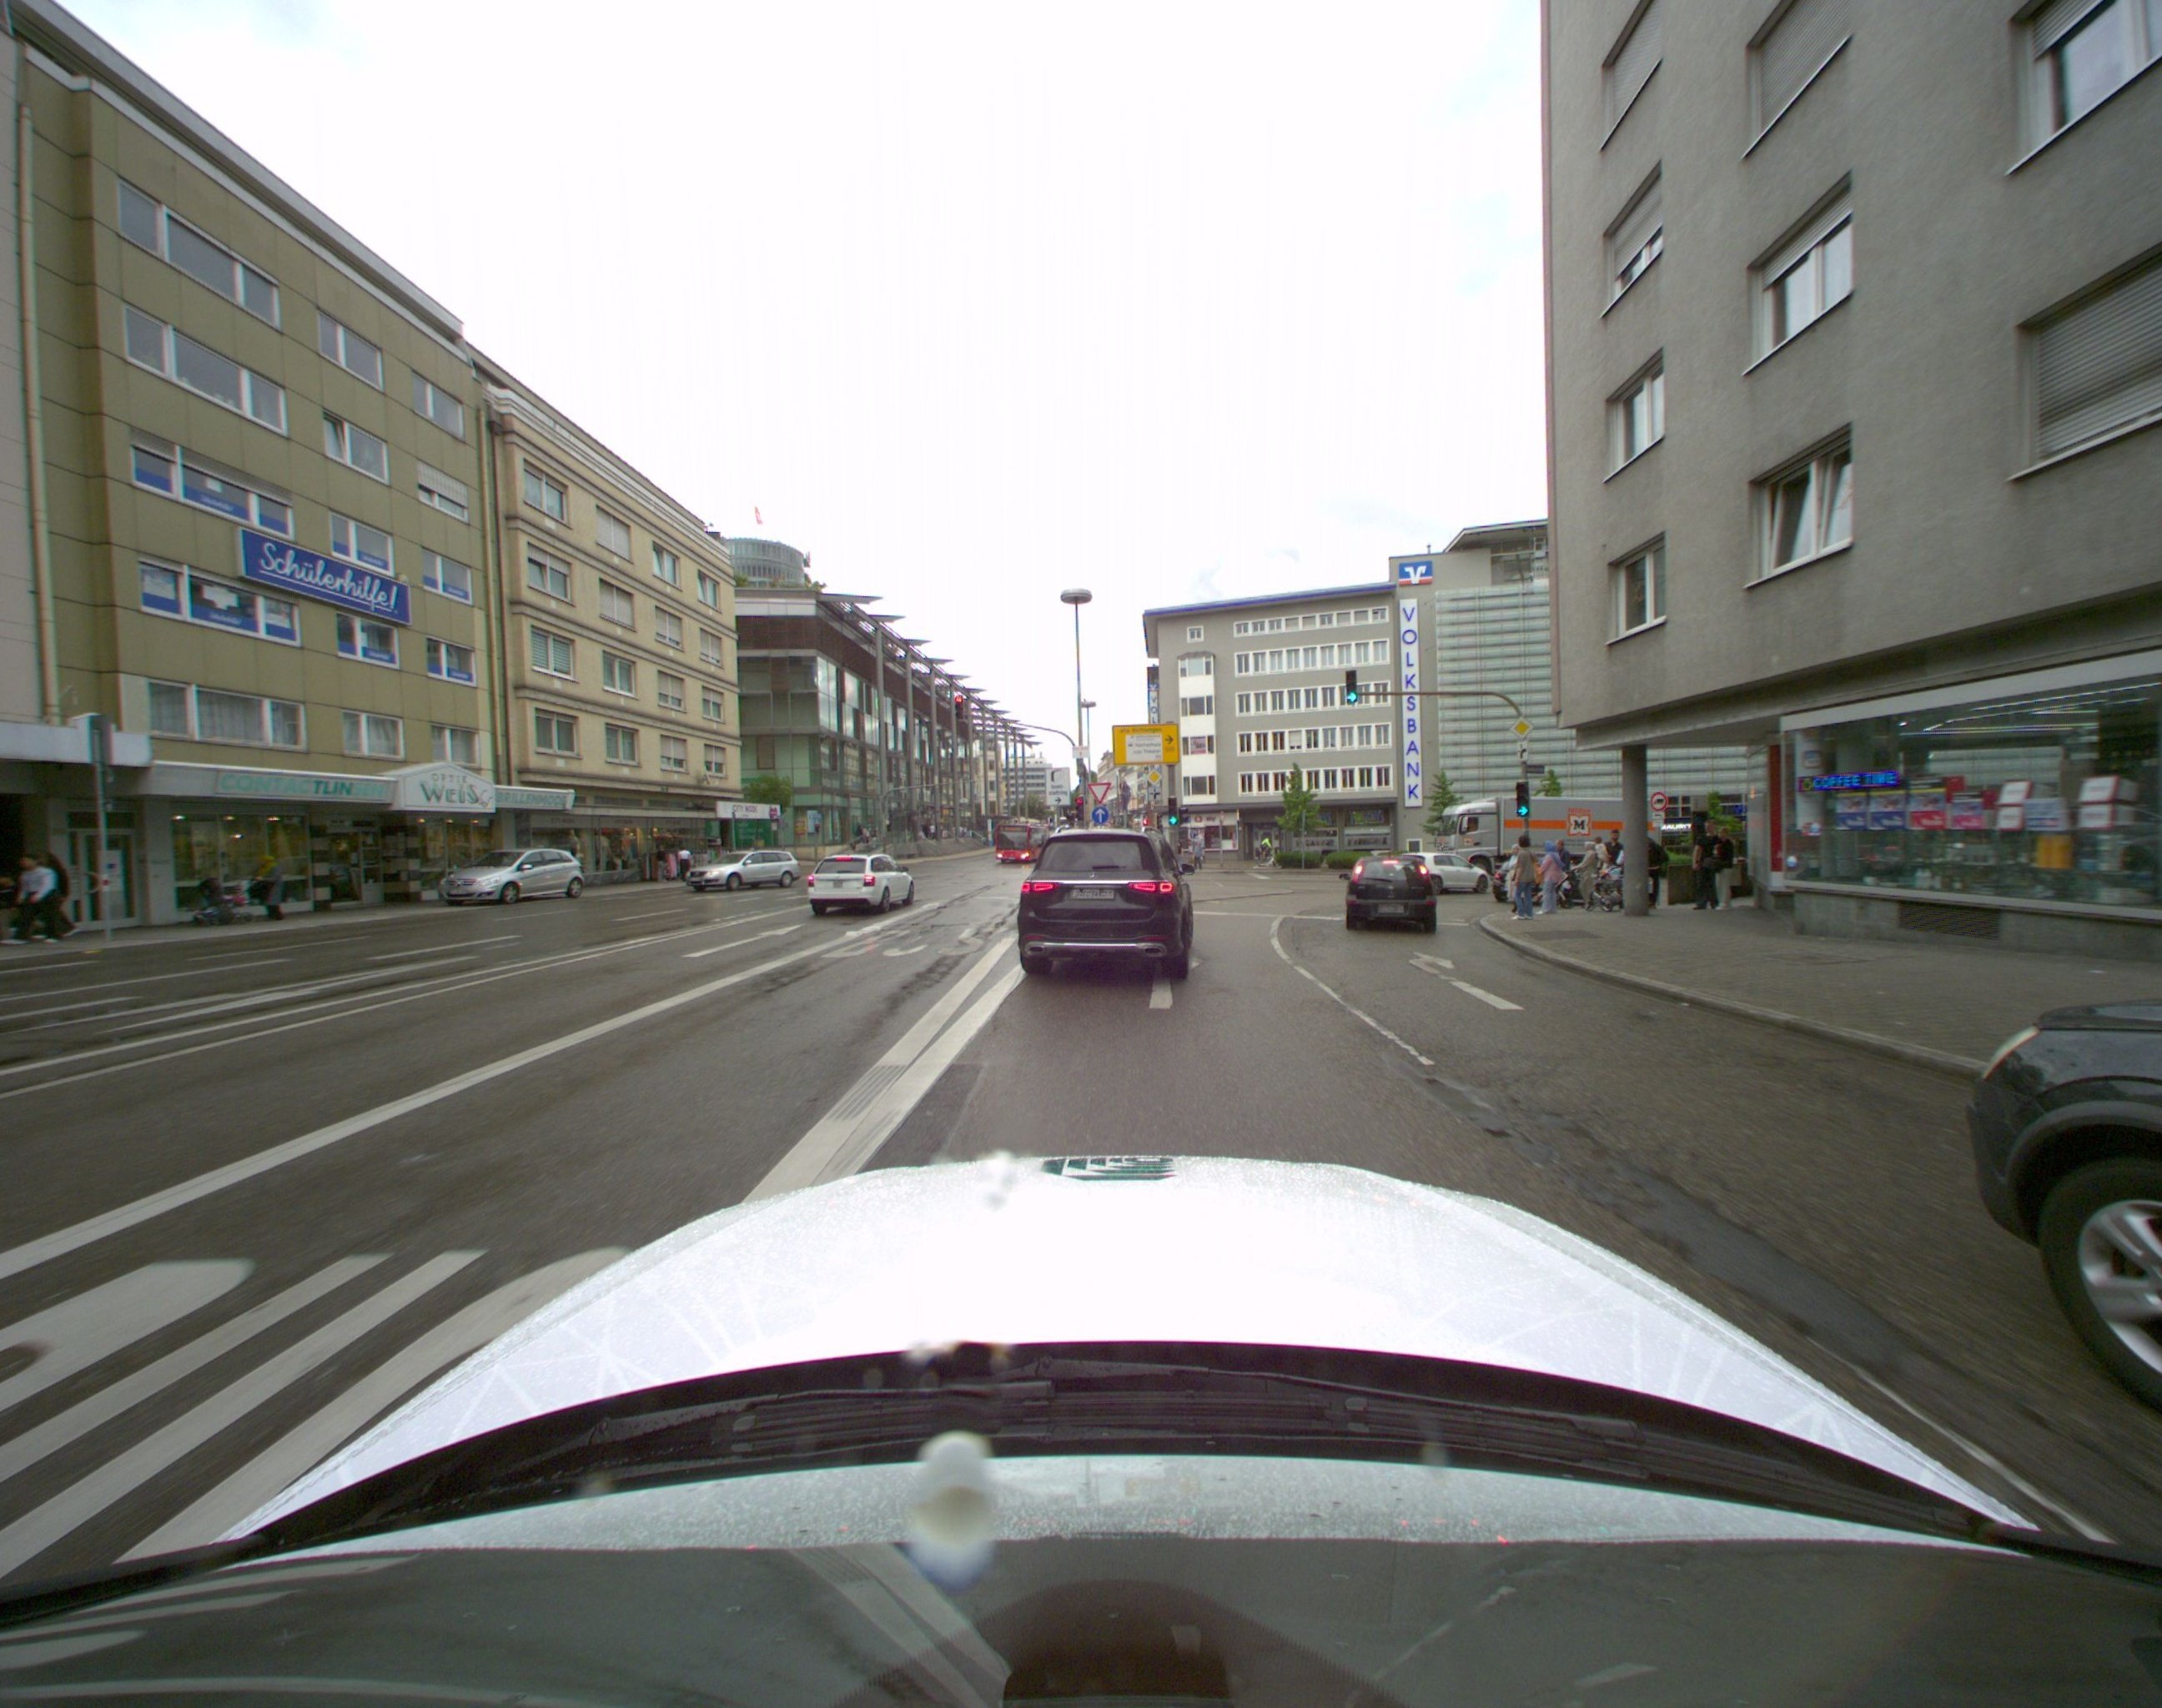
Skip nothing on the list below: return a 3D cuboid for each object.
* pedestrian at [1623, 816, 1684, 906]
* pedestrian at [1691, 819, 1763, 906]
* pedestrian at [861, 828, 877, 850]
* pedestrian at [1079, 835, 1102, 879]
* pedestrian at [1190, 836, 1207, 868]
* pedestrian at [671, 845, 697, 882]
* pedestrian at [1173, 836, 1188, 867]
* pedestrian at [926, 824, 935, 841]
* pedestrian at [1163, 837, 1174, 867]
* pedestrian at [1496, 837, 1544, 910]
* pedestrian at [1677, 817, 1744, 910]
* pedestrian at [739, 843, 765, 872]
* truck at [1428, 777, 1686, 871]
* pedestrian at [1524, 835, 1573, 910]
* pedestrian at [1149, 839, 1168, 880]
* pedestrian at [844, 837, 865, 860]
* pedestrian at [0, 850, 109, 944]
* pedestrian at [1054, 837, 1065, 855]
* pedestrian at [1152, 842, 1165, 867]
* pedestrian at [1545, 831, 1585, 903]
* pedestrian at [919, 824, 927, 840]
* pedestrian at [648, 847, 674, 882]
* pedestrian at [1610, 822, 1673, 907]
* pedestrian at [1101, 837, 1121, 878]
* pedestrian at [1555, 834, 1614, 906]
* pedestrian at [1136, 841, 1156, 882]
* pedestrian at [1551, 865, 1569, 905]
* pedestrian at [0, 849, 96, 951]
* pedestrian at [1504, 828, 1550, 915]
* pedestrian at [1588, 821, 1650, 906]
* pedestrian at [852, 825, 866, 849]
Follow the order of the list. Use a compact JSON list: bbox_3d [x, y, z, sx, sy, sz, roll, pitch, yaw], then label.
[{"bbox_3d":[12.565,0.154,17.896,0.813,1.931,0.734,-2,-1,10],"label":"pedestrian"},{"bbox_3d":[12.713,0.174,16.051,0.612,1.637,0.840,-5,-3,6],"label":"pedestrian"},{"bbox_3d":[-17.055,-1.226,65.406,1.036,1.712,1.007,0,1,-3],"label":"pedestrian"},{"bbox_3d":[0.381,0.119,32.117,0.779,1.711,0.708,1,0,7],"label":"pedestrian"},{"bbox_3d":[6.639,-0.131,46.146,0.828,1.778,0.617,0,1,-4],"label":"pedestrian"},{"bbox_3d":[-17.535,0.415,36.000,0.850,1.627,0.765,-1,1,-41],"label":"pedestrian"},{"bbox_3d":[5.491,-0.128,45.039,0.776,1.689,0.641,1,1,11],"label":"pedestrian"},{"bbox_3d":[-15.550,-2.253,84.367,0.825,1.712,0.801,0,1,-3],"label":"pedestrian"},{"bbox_3d":[4.829,-0.130,45.083,0.566,1.668,0.503,0,1,9],"label":"pedestrian"},{"bbox_3d":[10.216,0.467,18.970,0.537,1.637,0.838,-4,-3,2],"label":"pedestrian"},{"bbox_3d":[12.939,0.177,16.757,0.666,1.865,0.833,0,1,-18],"label":"pedestrian"},{"bbox_3d":[-18.462,0.173,45.674,0.867,1.586,1.156,-1,1,5],"label":"pedestrian"},{"bbox_3d":[22.929,-1.401,39.760,10.682,4.333,2.861,0,1,5],"label":"truck"},{"bbox_3d":[10.469,0.418,18.242,0.736,1.635,0.600,-6,-4,44],"label":"pedestrian"},{"bbox_3d":[3.057,0.209,32.130,0.709,1.568,0.856,1,0,7],"label":"pedestrian"},{"bbox_3d":[-16.869,-0.416,60.627,1.029,1.712,1.014,0,1,30],"label":"pedestrian"},{"bbox_3d":[-19.713,0.798,15.557,0.948,1.695,1.087,0,2,1],"label":"pedestrian"},{"bbox_3d":[-2.209,-0.822,84.215,0.949,1.886,0.812,1,1,9],"label":"pedestrian"},{"bbox_3d":[4.272,0.024,45.158,0.628,1.339,0.587,0,1,-4],"label":"pedestrian"},{"bbox_3d":[12.940,0.367,21.793,0.610,1.868,0.790,-4,-4,18],"label":"pedestrian"},{"bbox_3d":[-16.385,-2.285,84.296,0.679,1.712,0.849,0,1,-3],"label":"pedestrian"},{"bbox_3d":[-18.542,0.464,35.960,0.782,1.536,0.681,0,1,0],"label":"pedestrian"},{"bbox_3d":[11.753,0.225,17.106,0.830,1.723,0.619,-2,-2,10],"label":"pedestrian"},{"bbox_3d":[1.270,0.154,33.971,0.752,1.692,0.695,1,-1,7],"label":"pedestrian"},{"bbox_3d":[12.581,0.389,20.372,1.027,1.722,0.842,-3,0,19],"label":"pedestrian"},{"bbox_3d":[2.414,0.268,30.297,0.701,1.488,0.561,1,0,6],"label":"pedestrian"},{"bbox_3d":[12.388,0.799,21.056,0.258,1.000,0.475,-6,-2,25],"label":"pedestrian"},{"bbox_3d":[-18.713,0.787,14.508,0.948,1.713,1.091,0,2,1],"label":"pedestrian"},{"bbox_3d":[8.986,0.357,16.389,0.620,1.692,0.787,-3,-2,37],"label":"pedestrian"},{"bbox_3d":[12.321,0.219,18.678,0.831,1.865,0.659,-4,-3,6],"label":"pedestrian"},{"bbox_3d":[-18.519,-1.446,68.008,0.877,1.980,0.975,0,1,2],"label":"pedestrian"}]
